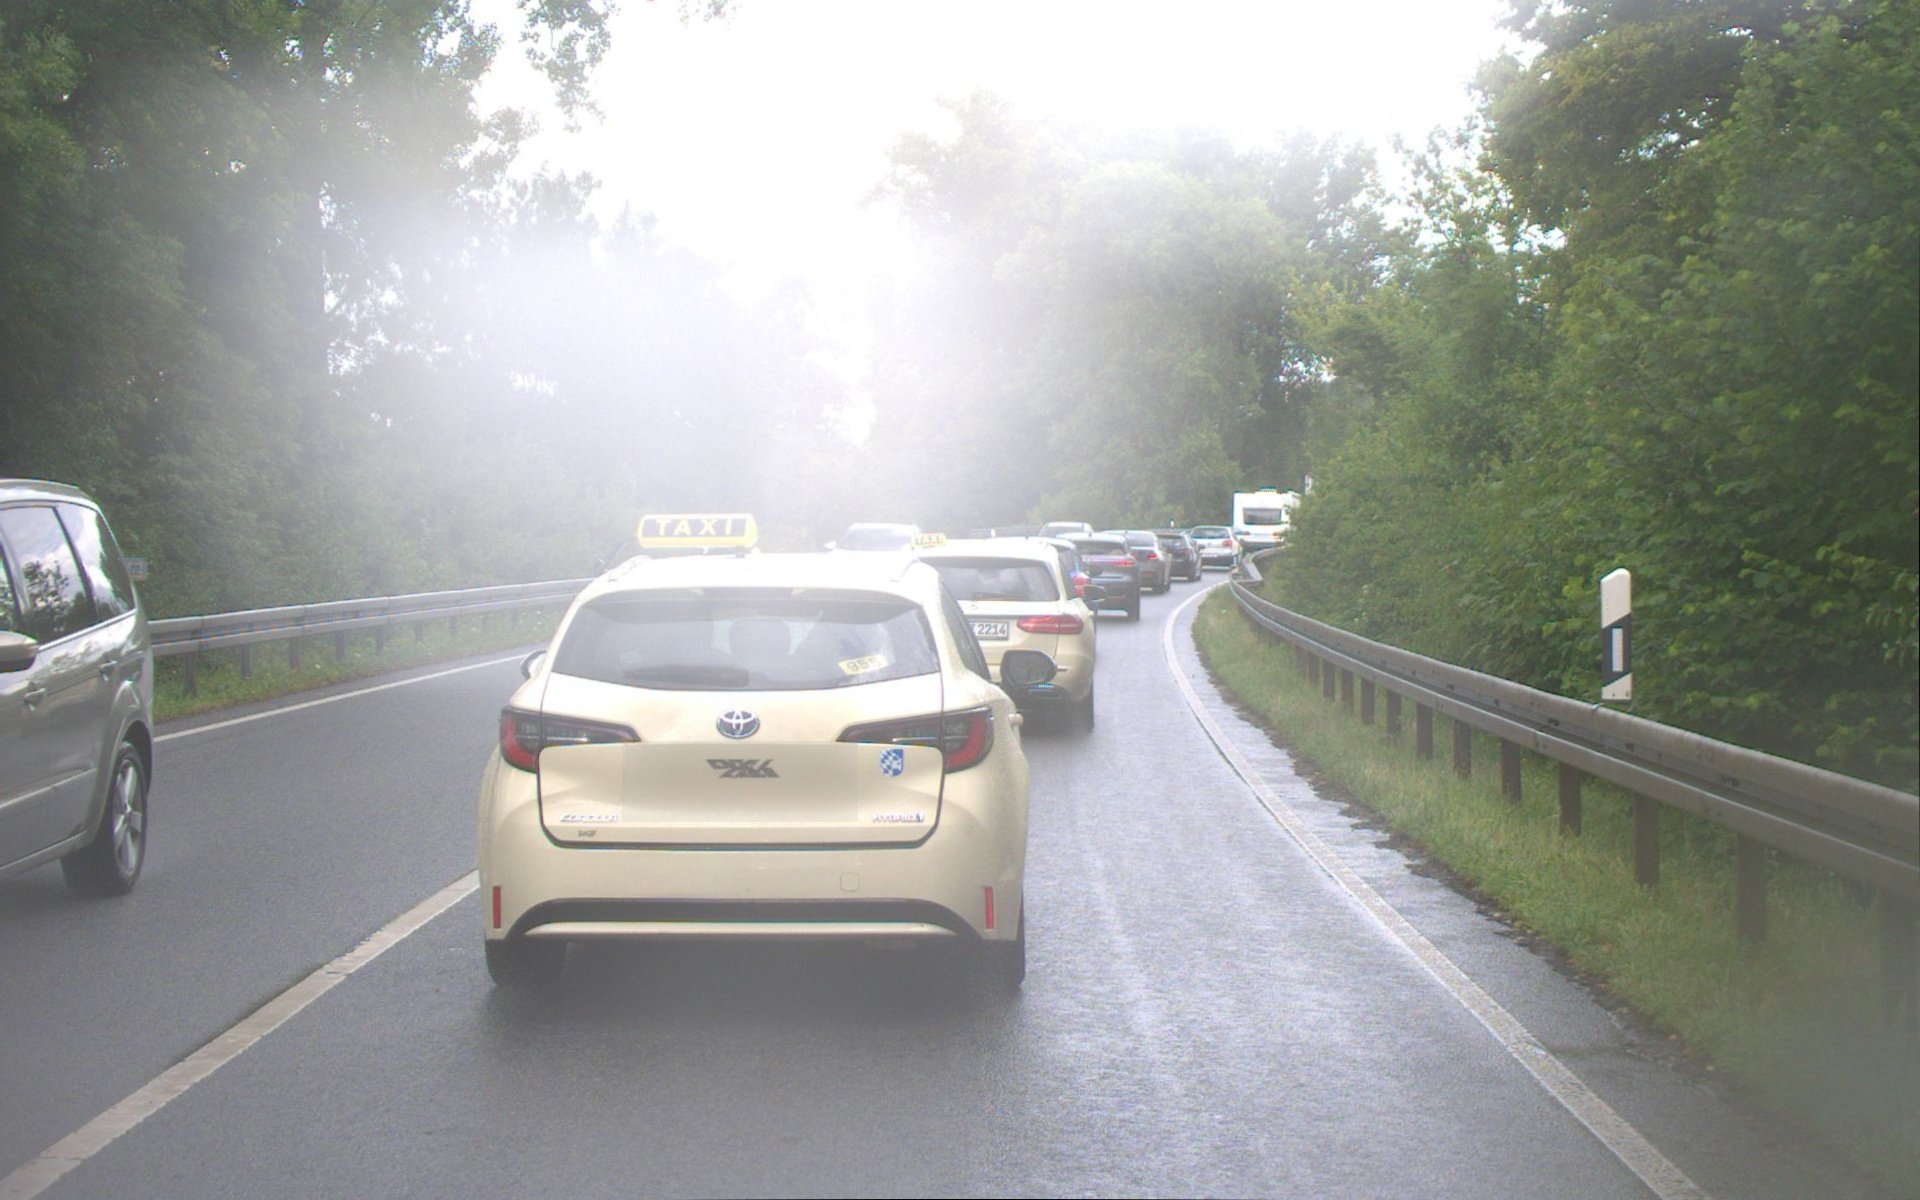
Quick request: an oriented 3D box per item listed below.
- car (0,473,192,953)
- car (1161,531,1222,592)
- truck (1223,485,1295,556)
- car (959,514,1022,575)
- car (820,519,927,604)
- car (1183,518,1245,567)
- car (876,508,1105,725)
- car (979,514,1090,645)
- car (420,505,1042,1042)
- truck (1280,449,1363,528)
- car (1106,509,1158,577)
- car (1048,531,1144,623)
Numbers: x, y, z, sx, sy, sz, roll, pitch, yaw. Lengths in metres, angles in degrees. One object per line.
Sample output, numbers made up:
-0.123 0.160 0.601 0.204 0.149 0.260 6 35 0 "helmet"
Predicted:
-4.264 0.381 12.660 1.815 1.680 4.622 1 0 0 "car"
6.330 -1.042 93.809 1.616 1.607 3.621 1 0 4 "car"
11.987 -3.150 138.160 2.550 2.704 7.534 1 0 3 "truck"
1.058 -1.849 116.128 1.993 2.007 4.000 1 0 2 "car"
-1.581 -0.733 63.868 1.807 1.527 4.206 0 1 1 "car"
8.355 -1.881 113.017 1.770 1.541 3.813 1 0 8 "car"
0.280 0.106 27.259 1.667 1.575 3.892 1 0 2 "car"
0.909 -0.258 42.655 1.300 1.541 3.260 1 0 1 "car"
-0.674 0.503 12.328 1.834 1.575 4.157 1 0 0 "car"
17.769 -5.425 168.478 3.109 3.668 6.996 1 0 14 "truck"
3.968 -1.305 79.412 1.167 1.541 2.604 1 0 3 "car"
2.367 -0.379 59.847 1.611 1.541 3.813 0 0 2 "car"
